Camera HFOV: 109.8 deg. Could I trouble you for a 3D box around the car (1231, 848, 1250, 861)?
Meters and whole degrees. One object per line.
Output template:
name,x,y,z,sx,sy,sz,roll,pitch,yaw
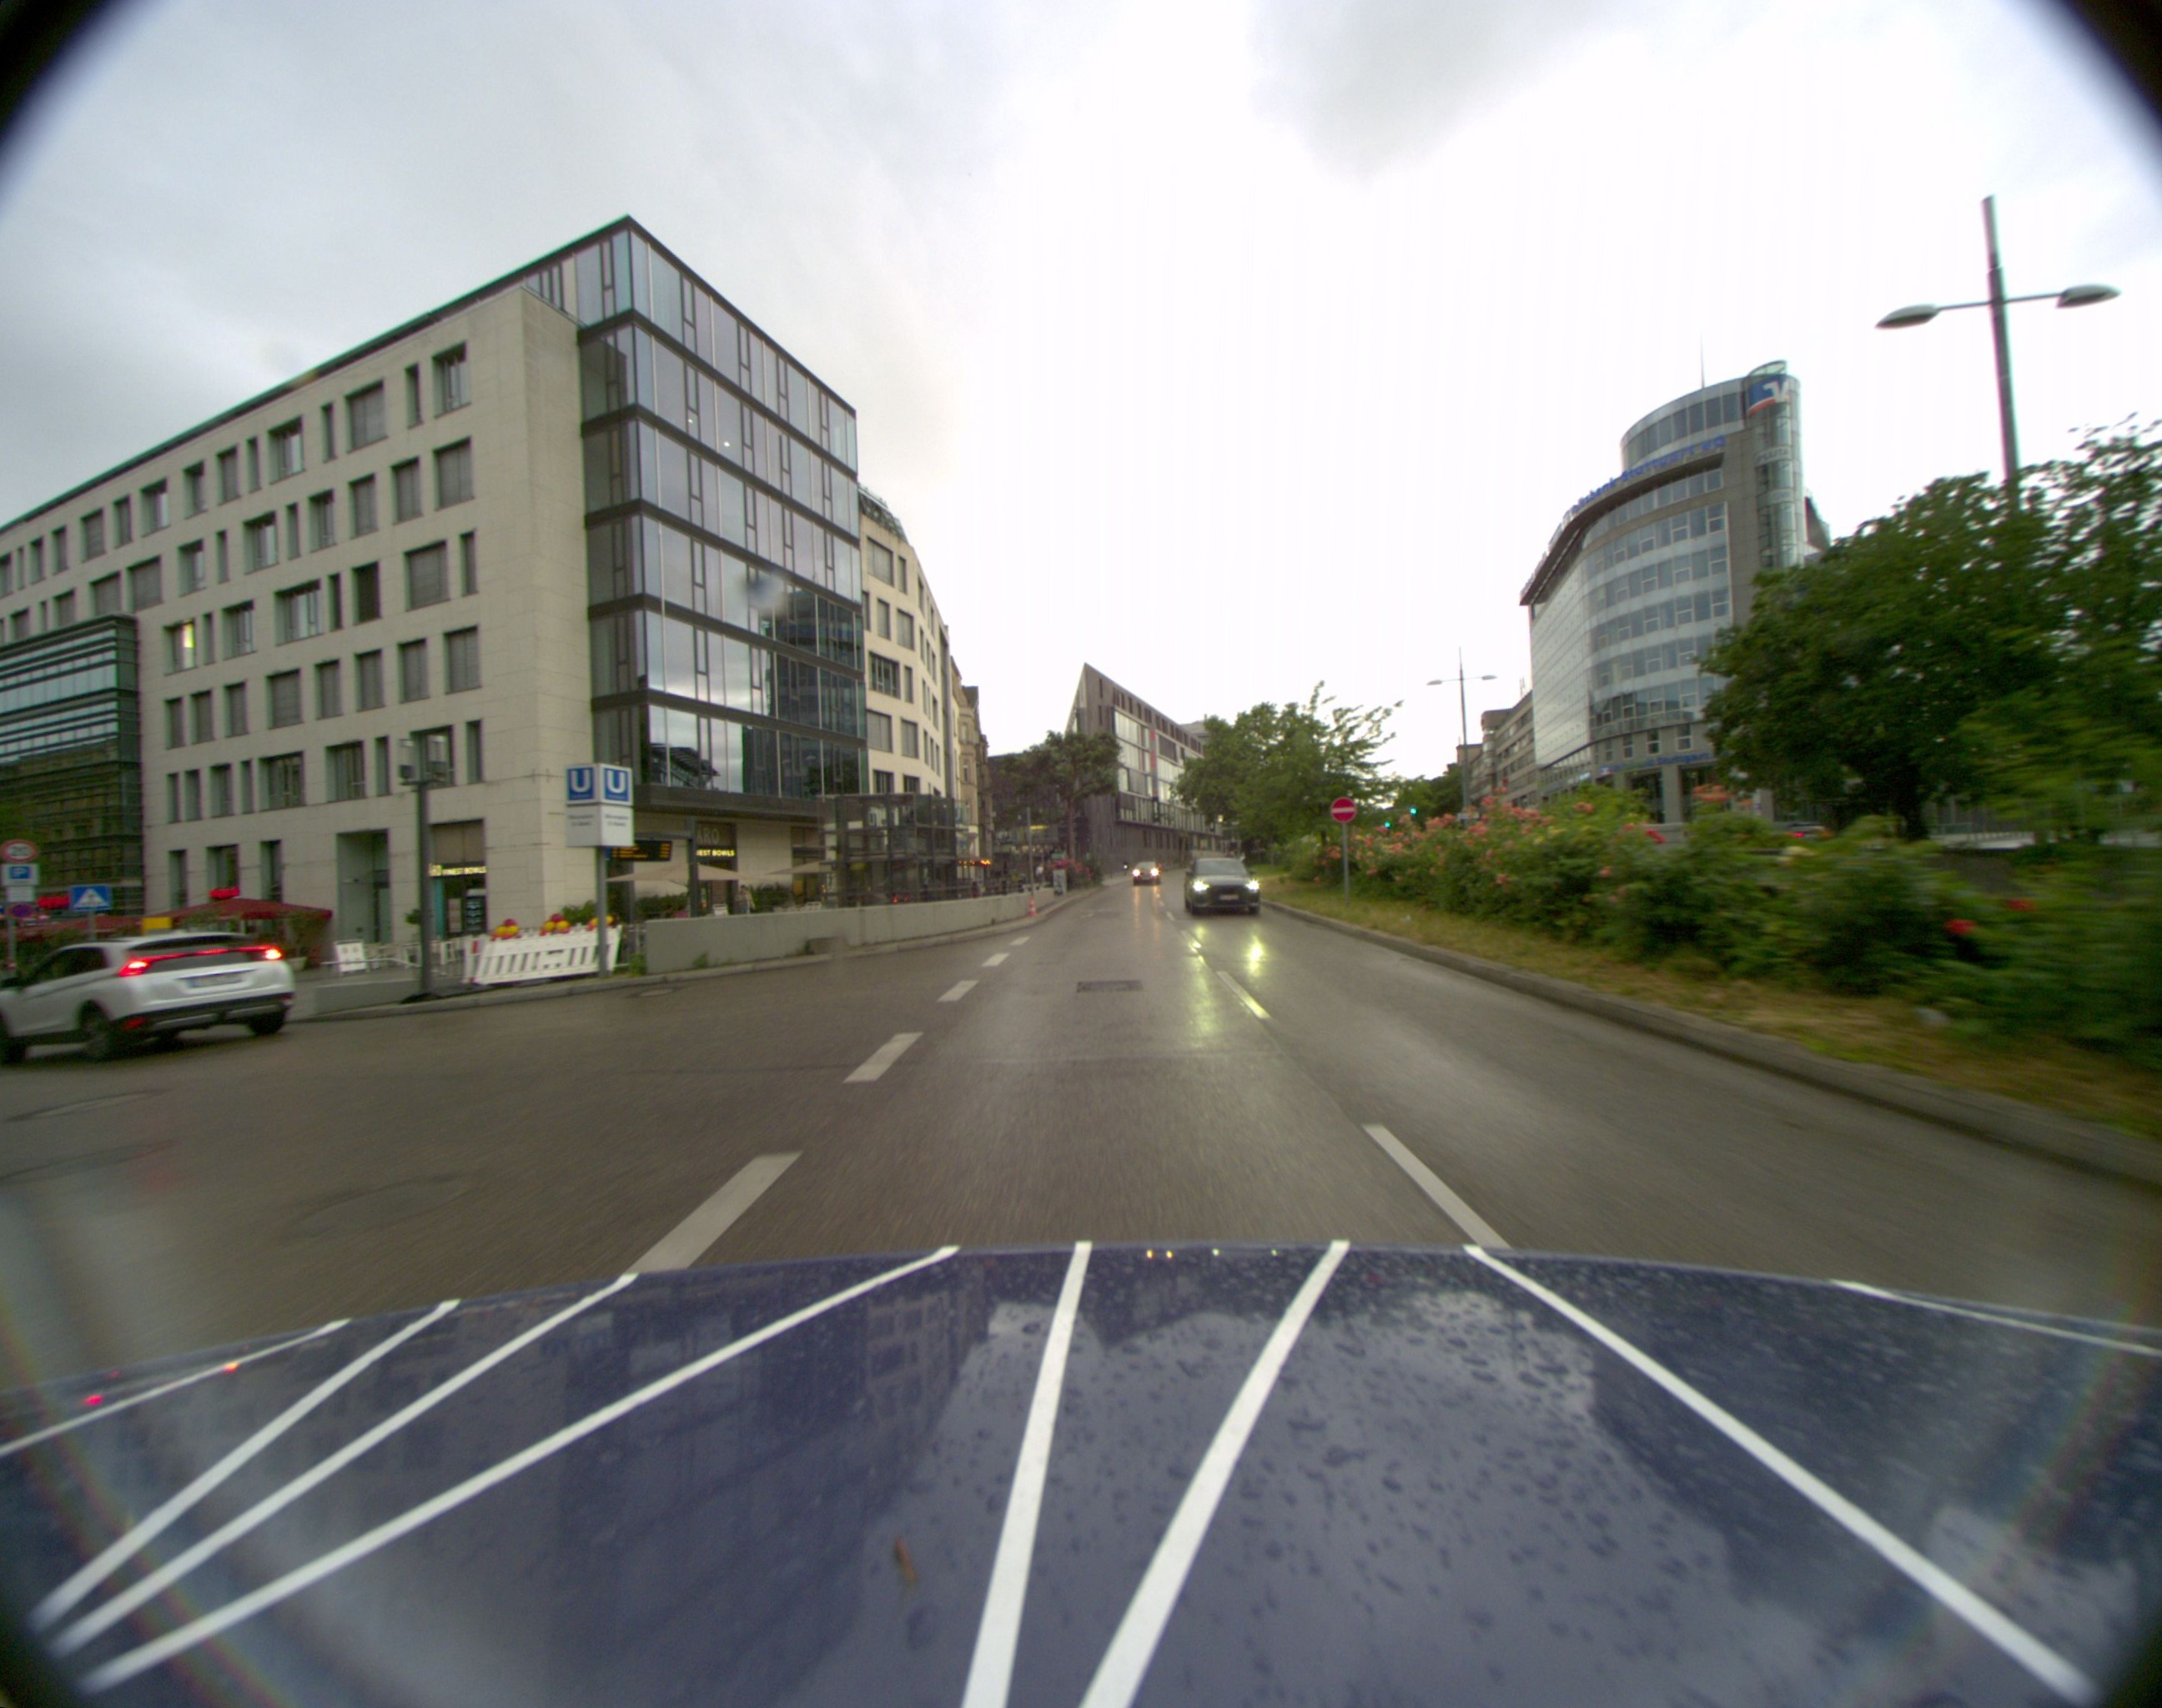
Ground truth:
car,20.350,0.053,96.828,1.796,1.501,4.505,-3,0,18

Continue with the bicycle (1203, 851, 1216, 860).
bicycle,18.603,0.190,109.784,1.732,1.176,0.690,-2,1,17

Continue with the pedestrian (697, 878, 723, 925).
pedestrian,-15.418,1.966,31.603,0.641,1.883,0.587,-2,1,23

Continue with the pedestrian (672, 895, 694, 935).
pedestrian,-14.420,2.197,27.528,0.435,1.395,0.479,-2,1,21

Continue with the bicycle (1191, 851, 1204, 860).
bicycle,15.970,0.236,104.072,1.536,1.134,0.690,-3,2,17

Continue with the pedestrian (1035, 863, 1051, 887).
pedestrian,-3.103,1.689,61.867,0.873,1.827,1.250,-5,1,9

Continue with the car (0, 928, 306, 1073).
car,-13.935,2.137,11.152,4.102,1.611,1.865,-6,-1,18

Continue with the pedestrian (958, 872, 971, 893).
pedestrian,-7.807,1.931,51.016,0.628,1.318,0.636,-5,0,-2

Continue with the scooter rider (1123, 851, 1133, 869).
scooter rider,5.259,0.636,85.484,0.778,2.009,0.925,-2,1,26

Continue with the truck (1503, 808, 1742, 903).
truck,17.401,0.018,25.406,3.372,2.496,8.483,-3,0,12

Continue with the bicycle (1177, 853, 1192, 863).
bicycle,13.327,0.509,98.020,1.796,1.062,0.557,-4,1,18

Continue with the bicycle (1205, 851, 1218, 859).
bicycle,19.014,0.167,110.791,1.732,1.176,0.690,-2,1,17

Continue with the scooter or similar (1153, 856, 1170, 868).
scooter or similar,9.381,0.919,88.688,1.794,1.236,0.596,-4,1,17

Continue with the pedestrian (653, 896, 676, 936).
pedestrian,-15.027,2.227,27.413,0.435,1.395,0.479,-2,1,21

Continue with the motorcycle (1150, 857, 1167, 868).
motorcycle,8.954,1.023,87.591,1.794,1.133,0.596,-4,1,17

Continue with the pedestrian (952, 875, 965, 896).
pedestrian,-8.009,2.047,49.711,0.628,1.318,0.636,-5,0,-2

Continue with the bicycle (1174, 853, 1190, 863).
bicycle,12.957,0.539,97.371,1.796,1.062,0.557,-4,1,18

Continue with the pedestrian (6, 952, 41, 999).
pedestrian,-40.239,4.606,28.909,0.557,1.692,0.573,-2,1,19

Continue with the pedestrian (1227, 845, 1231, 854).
pedestrian,30.914,-0.954,158.456,0.722,1.820,0.748,-1,1,21

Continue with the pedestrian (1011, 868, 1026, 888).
pedestrian,-4.536,1.744,55.011,0.775,1.318,0.636,-5,0,18

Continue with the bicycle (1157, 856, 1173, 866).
bicycle,9.987,0.829,90.446,1.797,1.101,0.670,-4,1,17

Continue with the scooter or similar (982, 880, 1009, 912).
scooter or similar,-3.645,1.802,32.440,1.093,1.264,0.481,-4,0,-6

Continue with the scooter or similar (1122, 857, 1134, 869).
scooter or similar,5.288,1.045,85.506,0.778,1.298,1.337,-2,0,26

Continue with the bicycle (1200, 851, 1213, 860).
bicycle,17.952,0.234,108.337,1.732,1.133,0.690,-2,1,17

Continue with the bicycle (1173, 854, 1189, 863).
bicycle,12.744,0.580,96.737,1.796,1.062,0.557,-4,1,18

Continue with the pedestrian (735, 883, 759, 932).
pedestrian,-13.233,2.107,30.120,0.586,1.883,0.642,-3,1,-6

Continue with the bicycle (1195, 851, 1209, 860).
bicycle,16.818,0.152,105.463,1.708,1.134,0.690,-3,2,17

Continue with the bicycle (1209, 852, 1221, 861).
bicycle,19.842,0.358,112.370,1.732,1.176,0.690,-2,1,17

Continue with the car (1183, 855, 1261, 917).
car,4.001,0.845,22.189,1.864,1.509,4.347,-3,0,6

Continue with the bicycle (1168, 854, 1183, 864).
bicycle,11.828,0.641,95.156,1.797,1.101,0.670,-4,1,17

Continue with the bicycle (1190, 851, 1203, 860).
bicycle,15.683,0.263,103.319,1.536,1.134,0.663,-3,2,17

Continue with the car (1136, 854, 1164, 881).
car,4.369,0.829,48.376,1.594,1.501,3.710,-3,0,5
